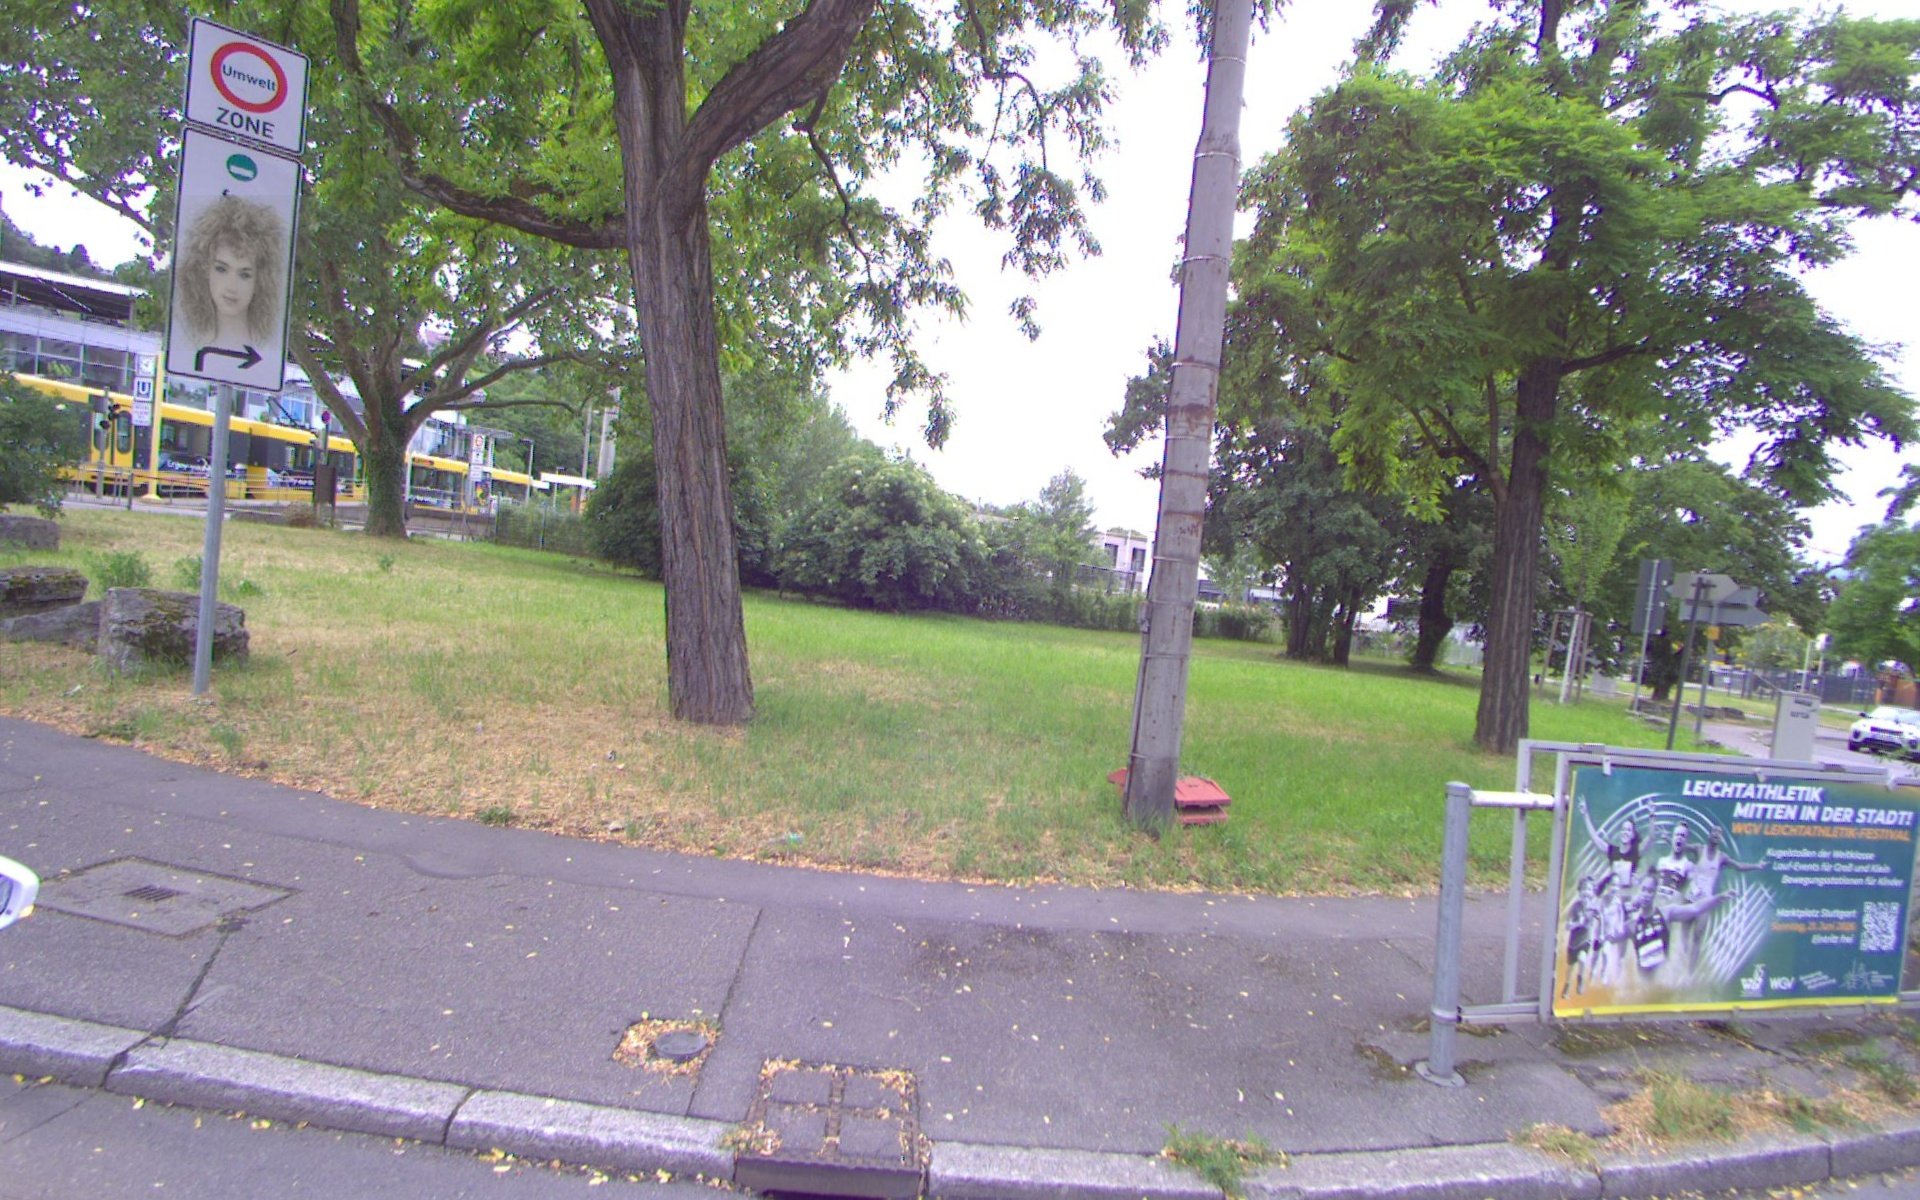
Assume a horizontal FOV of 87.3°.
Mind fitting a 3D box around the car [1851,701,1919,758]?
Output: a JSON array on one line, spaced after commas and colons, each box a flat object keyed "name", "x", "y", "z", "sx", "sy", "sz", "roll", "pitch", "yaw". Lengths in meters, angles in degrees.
[{"name": "car", "x": 30.559, "y": 4.209, "z": 32.865, "sx": 2.021, "sy": 1.555, "sz": 3.920, "roll": 5, "pitch": -1, "yaw": 42}]

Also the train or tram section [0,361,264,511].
[{"name": "train or tram section", "x": -30.392, "y": -5.479, "z": 29.910, "sx": 3.215, "sy": 3.713, "sz": 19.168, "roll": 7, "pitch": 2, "yaw": 10}]

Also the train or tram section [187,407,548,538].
[{"name": "train or tram section", "x": -27.108, "y": -5.592, "z": 48.804, "sx": 3.215, "sy": 3.713, "sz": 19.168, "roll": 7, "pitch": 2, "yaw": 10}]
